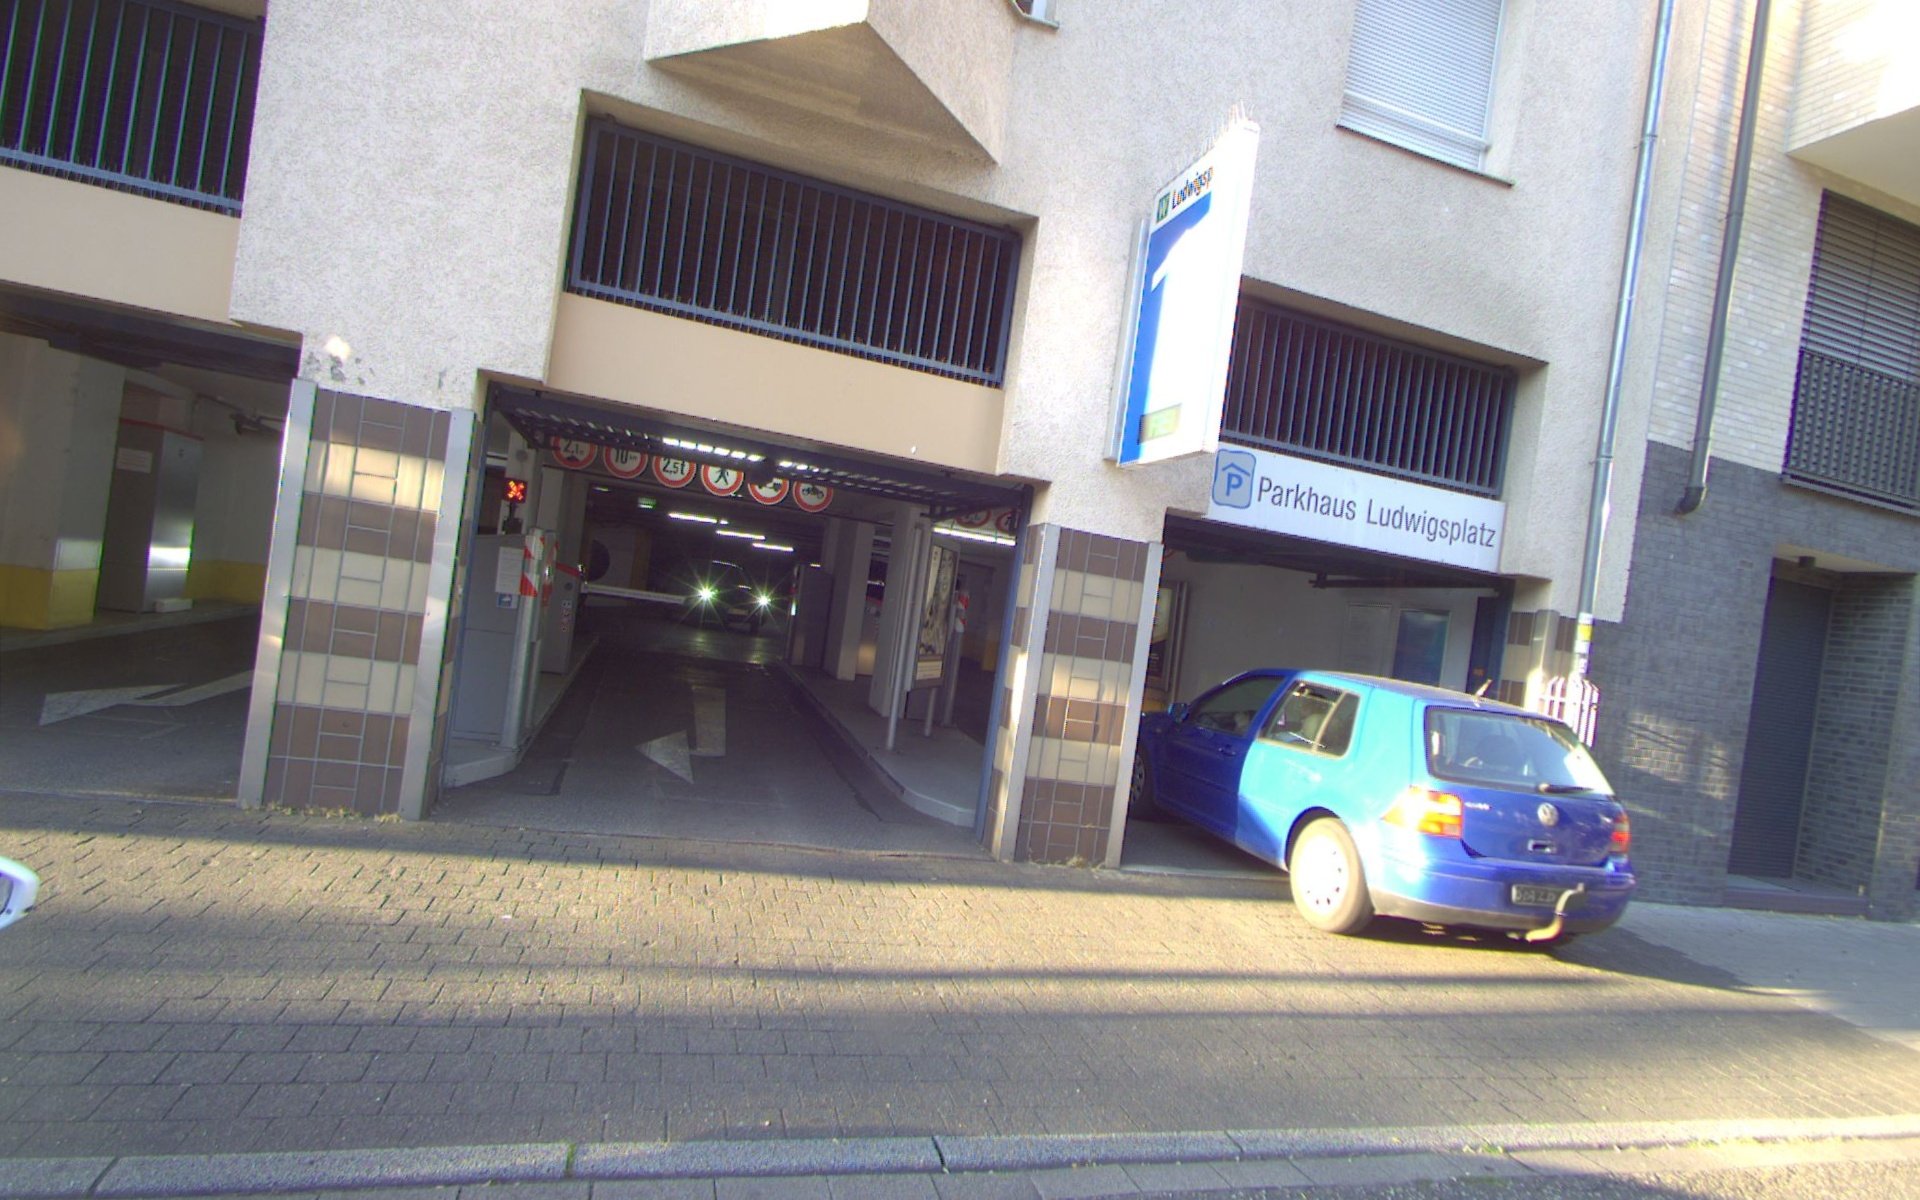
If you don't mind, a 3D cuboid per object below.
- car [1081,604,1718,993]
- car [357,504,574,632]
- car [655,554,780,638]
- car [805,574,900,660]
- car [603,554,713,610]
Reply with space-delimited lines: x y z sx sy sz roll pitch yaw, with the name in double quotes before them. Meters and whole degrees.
"car" 2.522 1.064 7.048 1.669 1.583 4.101 8 1 -16
"car" -7.867 -0.496 16.483 1.788 1.592 4.243 8 0 -8
"car" -6.291 -0.163 25.735 1.871 1.643 4.267 8 0 -29
"car" -2.661 0.332 24.148 1.537 1.638 3.867 8 0 -15
"car" -10.610 -0.651 35.231 3.820 1.408 1.603 9 1 37
